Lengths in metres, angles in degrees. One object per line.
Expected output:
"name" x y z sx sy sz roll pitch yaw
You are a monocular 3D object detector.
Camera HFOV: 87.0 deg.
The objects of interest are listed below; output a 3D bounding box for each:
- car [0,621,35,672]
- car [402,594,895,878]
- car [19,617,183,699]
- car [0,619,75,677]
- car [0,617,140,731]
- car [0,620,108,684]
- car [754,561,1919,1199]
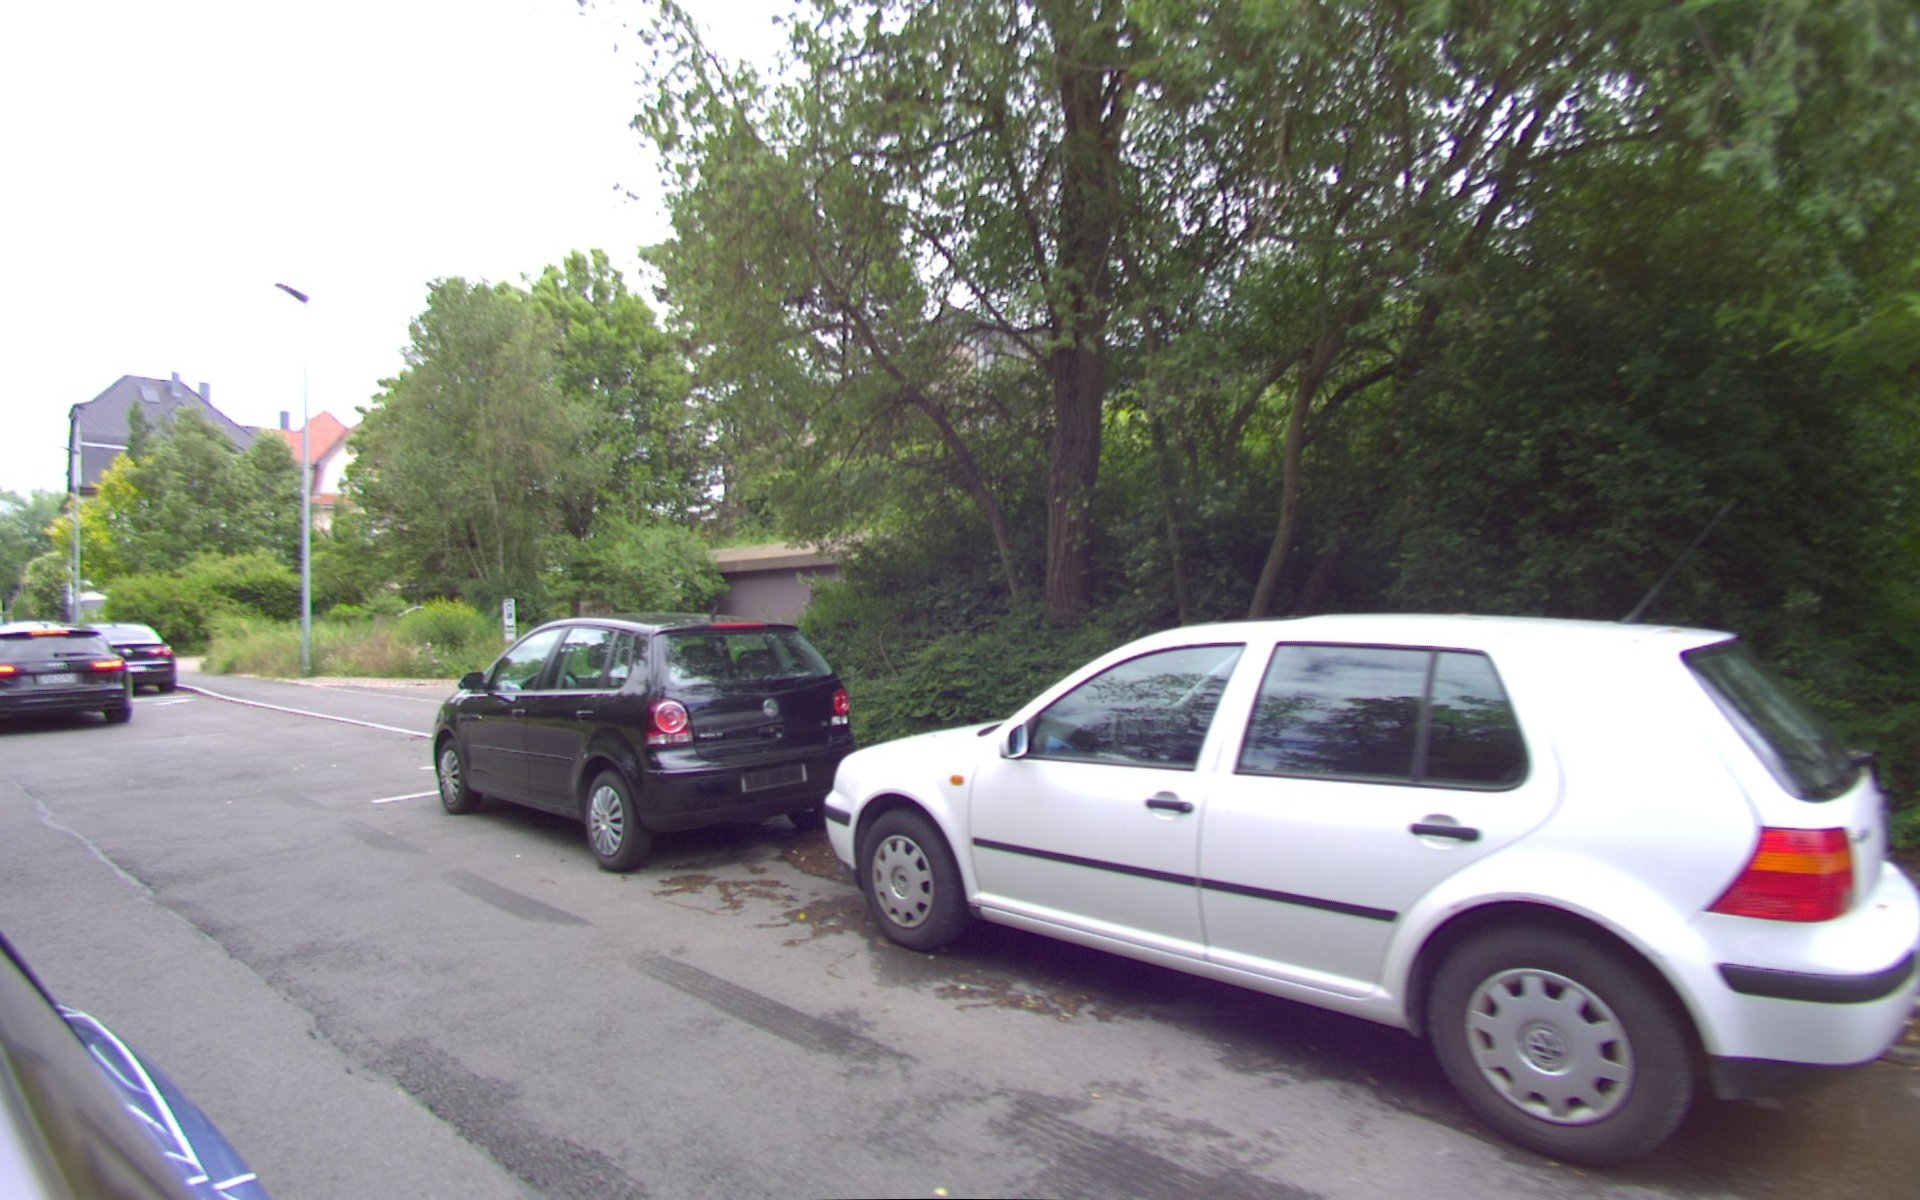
"car" -30.107 1.409 31.403 4.495 1.493 1.688 -1 -2 42
"car" -2.402 0.738 7.174 3.969 1.461 1.605 -1 -1 43
"car" -17.534 1.101 20.570 5.102 1.442 1.760 -1 0 41
"car" -26.015 1.285 28.155 3.998 1.493 1.607 -1 -2 42
"car" -13.661 0.998 14.830 4.486 1.436 1.762 -1 0 41
"car" -22.407 1.227 24.850 4.348 1.443 1.607 -1 -1 41
"car" 1.160 0.694 4.079 4.381 1.464 1.642 -2 -1 43
